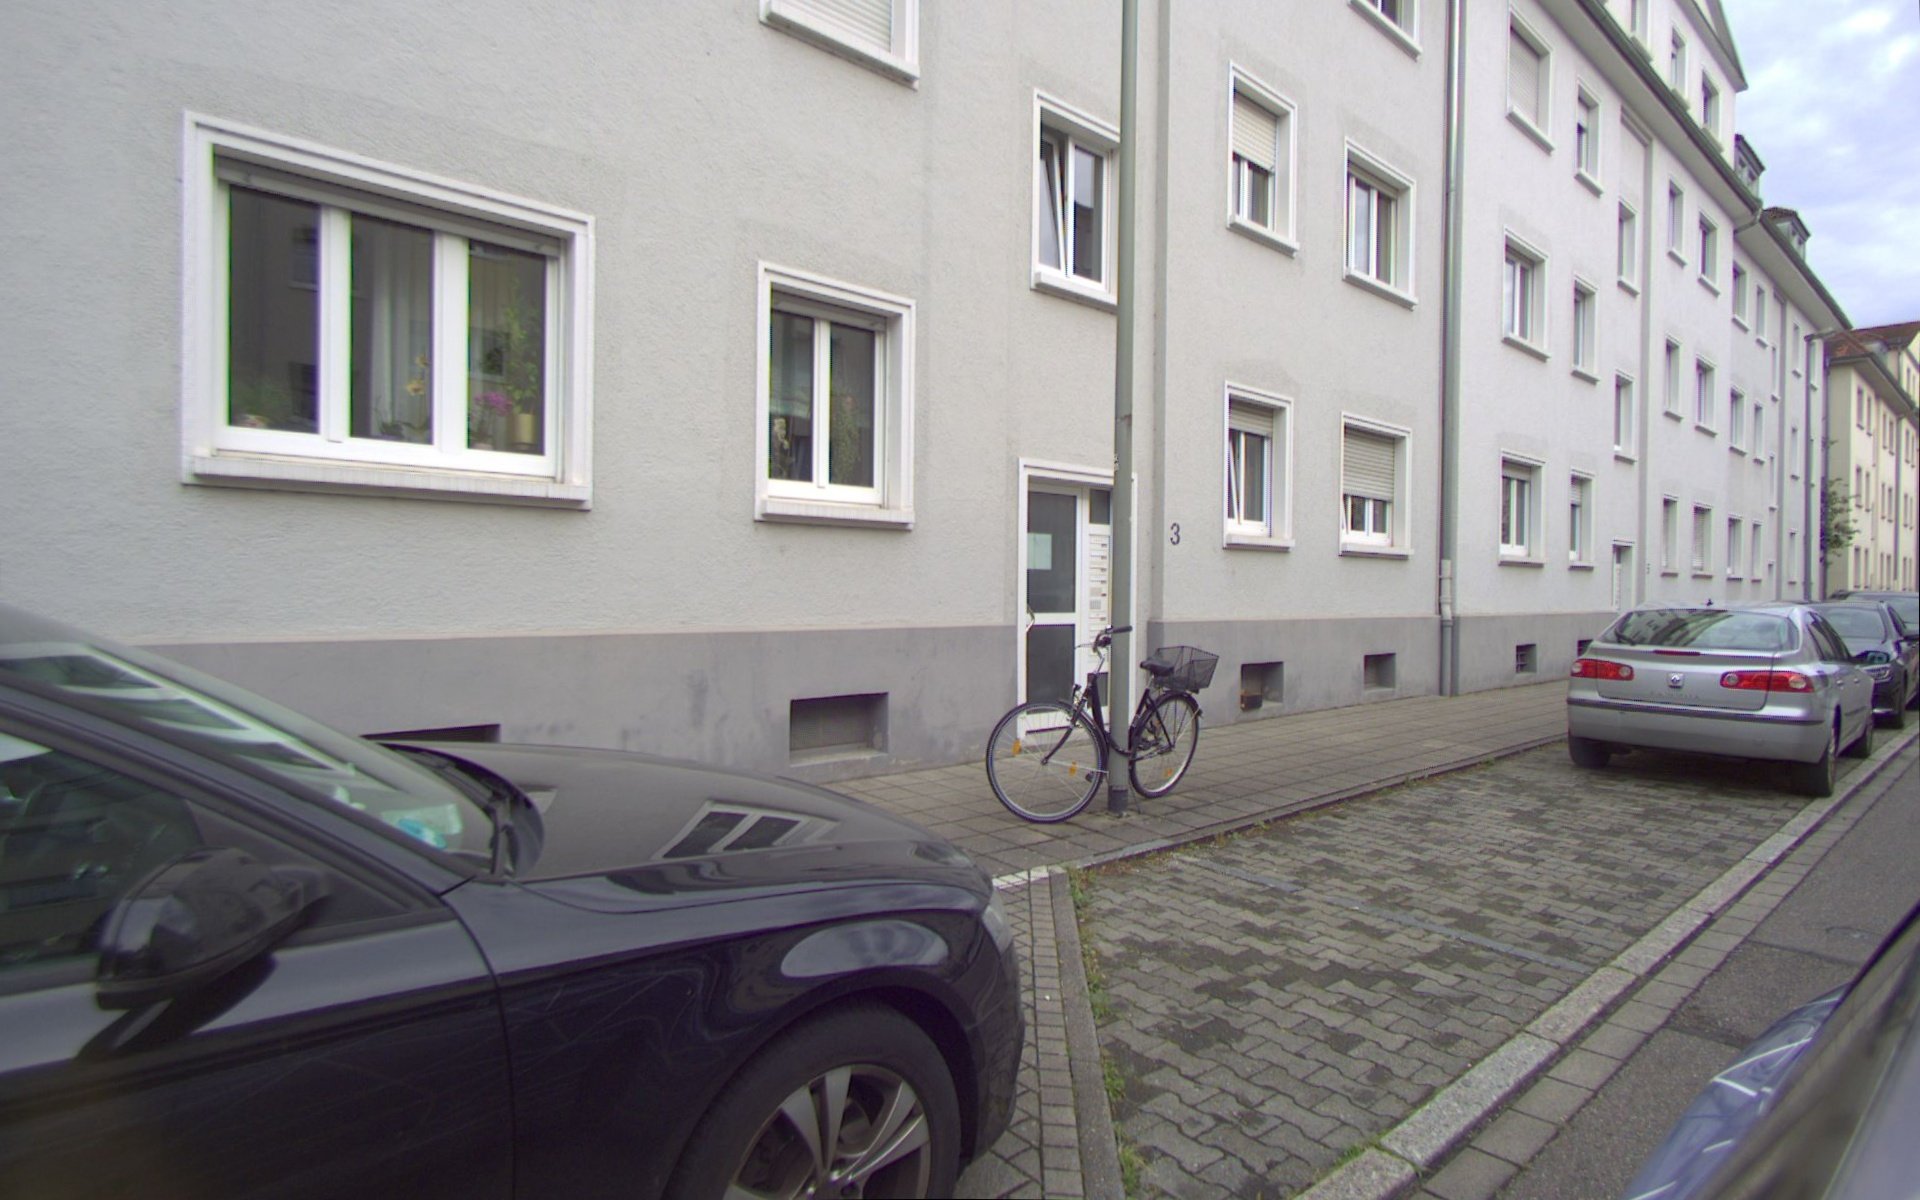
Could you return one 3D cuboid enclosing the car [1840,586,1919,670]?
[{"bbox_3d":[18.736,0.516,19.873,3.692,1.505,1.735,0,1,-42],"label":"car"}]

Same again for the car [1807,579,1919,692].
[{"bbox_3d":[15.204,0.517,16.357,4.090,1.619,1.850,0,1,-43],"label":"car"}]

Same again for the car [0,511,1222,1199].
[{"bbox_3d":[-1.718,0.625,1.467,4.646,1.481,1.863,0,2,-43],"label":"car"}]

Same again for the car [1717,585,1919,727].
[{"bbox_3d":[11.149,0.585,12.826,4.250,1.481,1.784,0,1,-43],"label":"car"}]

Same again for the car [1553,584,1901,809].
[{"bbox_3d":[6.904,0.641,8.918,4.356,1.481,1.734,0,1,-43],"label":"car"}]

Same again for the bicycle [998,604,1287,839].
[{"bbox_3d":[1.169,0.644,6.216,1.862,1.215,0.750,1,0,-42],"label":"bicycle"}]
